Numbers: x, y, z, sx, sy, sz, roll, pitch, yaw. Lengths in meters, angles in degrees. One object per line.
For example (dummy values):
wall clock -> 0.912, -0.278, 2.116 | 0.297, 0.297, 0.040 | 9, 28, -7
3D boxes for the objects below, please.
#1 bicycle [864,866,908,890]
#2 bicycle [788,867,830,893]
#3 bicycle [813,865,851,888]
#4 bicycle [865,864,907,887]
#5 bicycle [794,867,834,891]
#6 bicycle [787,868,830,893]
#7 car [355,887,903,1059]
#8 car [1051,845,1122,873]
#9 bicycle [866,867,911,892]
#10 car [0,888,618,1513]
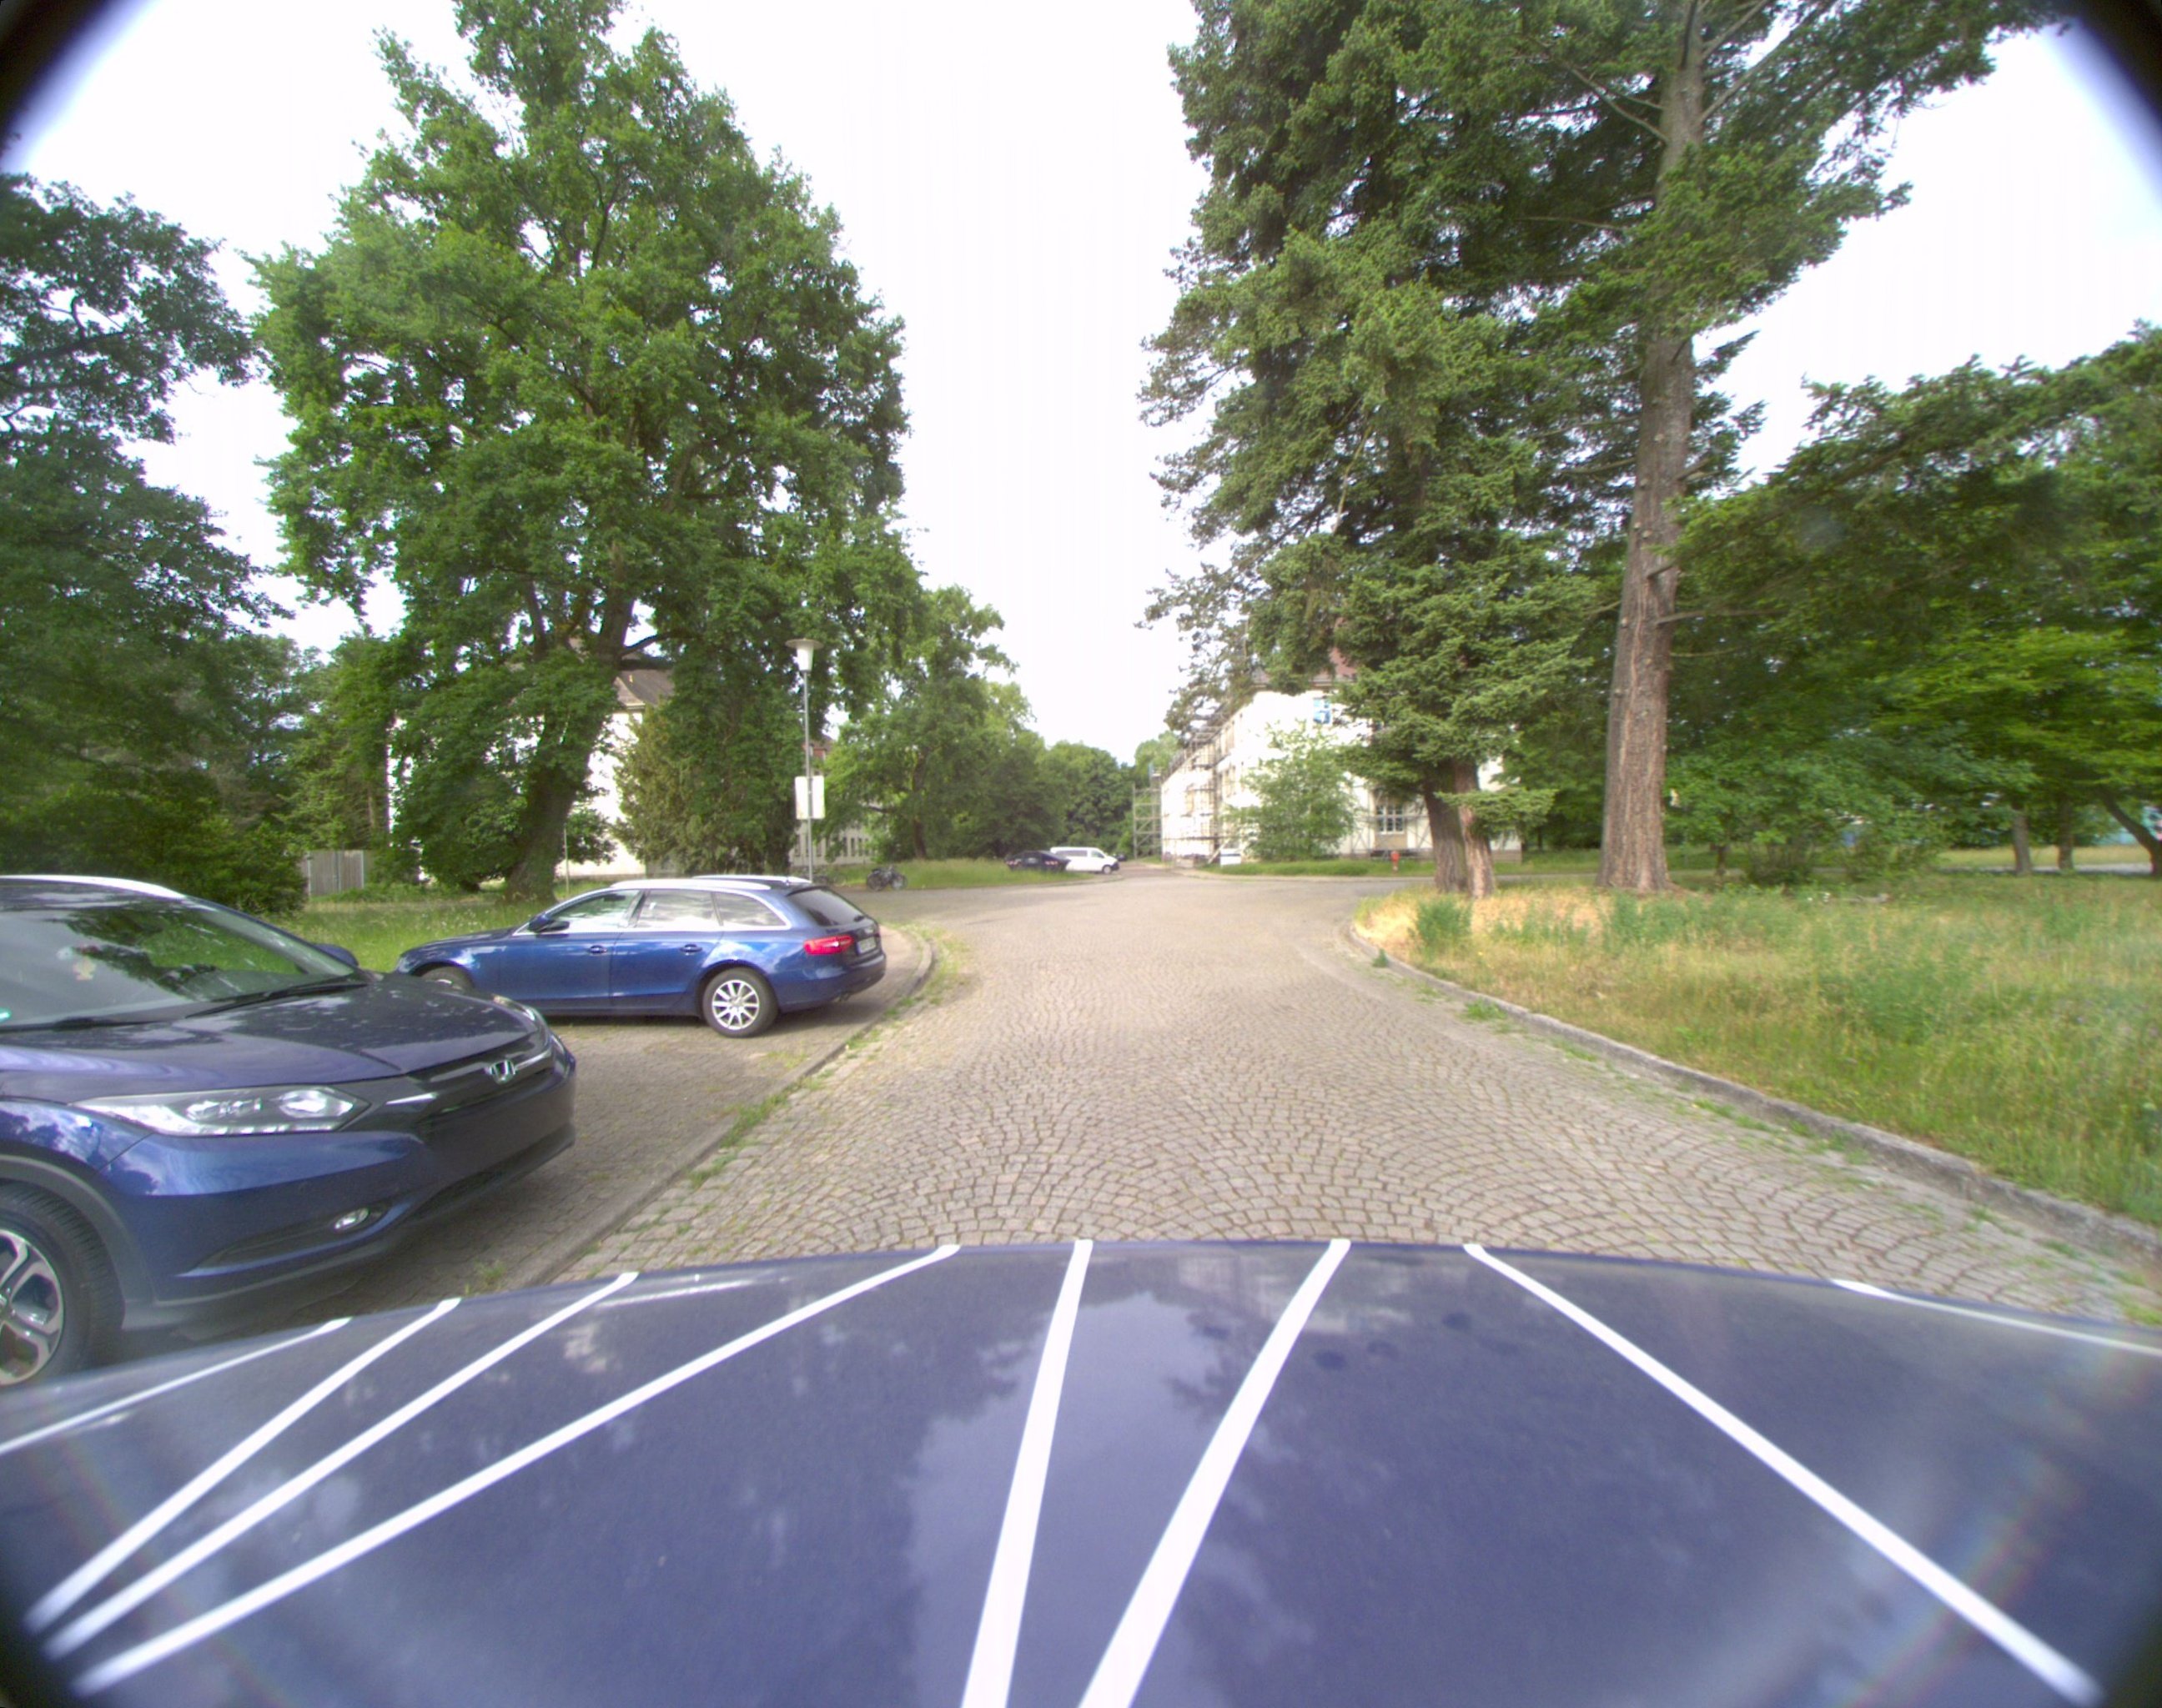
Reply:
bicycle -> -9.692, 1.180, 37.831 | 1.976, 1.070, 0.587 | -3, 1, -27
bicycle -> -13.292, 1.261, 37.114 | 1.859, 1.116, 0.620 | -3, 1, -22
bicycle -> -13.414, 1.214, 40.993 | 1.859, 1.116, 0.620 | -3, 1, -22
bicycle -> -10.252, 1.133, 39.939 | 2.032, 1.070, 0.620 | -3, 1, -22
bicycle -> -13.637, 1.258, 38.776 | 1.859, 1.116, 0.620 | -3, 1, -22
bicycle -> -13.096, 1.260, 36.502 | 1.859, 1.116, 0.620 | -3, 1, -22
car -> -4.271, 1.093, 7.647 | 4.480, 1.413, 1.785 | 0, 1, 4
car -> 0.394, 0.348, 56.456 | 5.101, 2.007, 2.054 | -1, 1, -1
bicycle -> -9.189, 1.211, 36.246 | 1.976, 1.070, 0.587 | -3, 1, -27
car -> -4.466, 1.028, 2.948 | 4.172, 1.563, 1.793 | -1, 2, 1
